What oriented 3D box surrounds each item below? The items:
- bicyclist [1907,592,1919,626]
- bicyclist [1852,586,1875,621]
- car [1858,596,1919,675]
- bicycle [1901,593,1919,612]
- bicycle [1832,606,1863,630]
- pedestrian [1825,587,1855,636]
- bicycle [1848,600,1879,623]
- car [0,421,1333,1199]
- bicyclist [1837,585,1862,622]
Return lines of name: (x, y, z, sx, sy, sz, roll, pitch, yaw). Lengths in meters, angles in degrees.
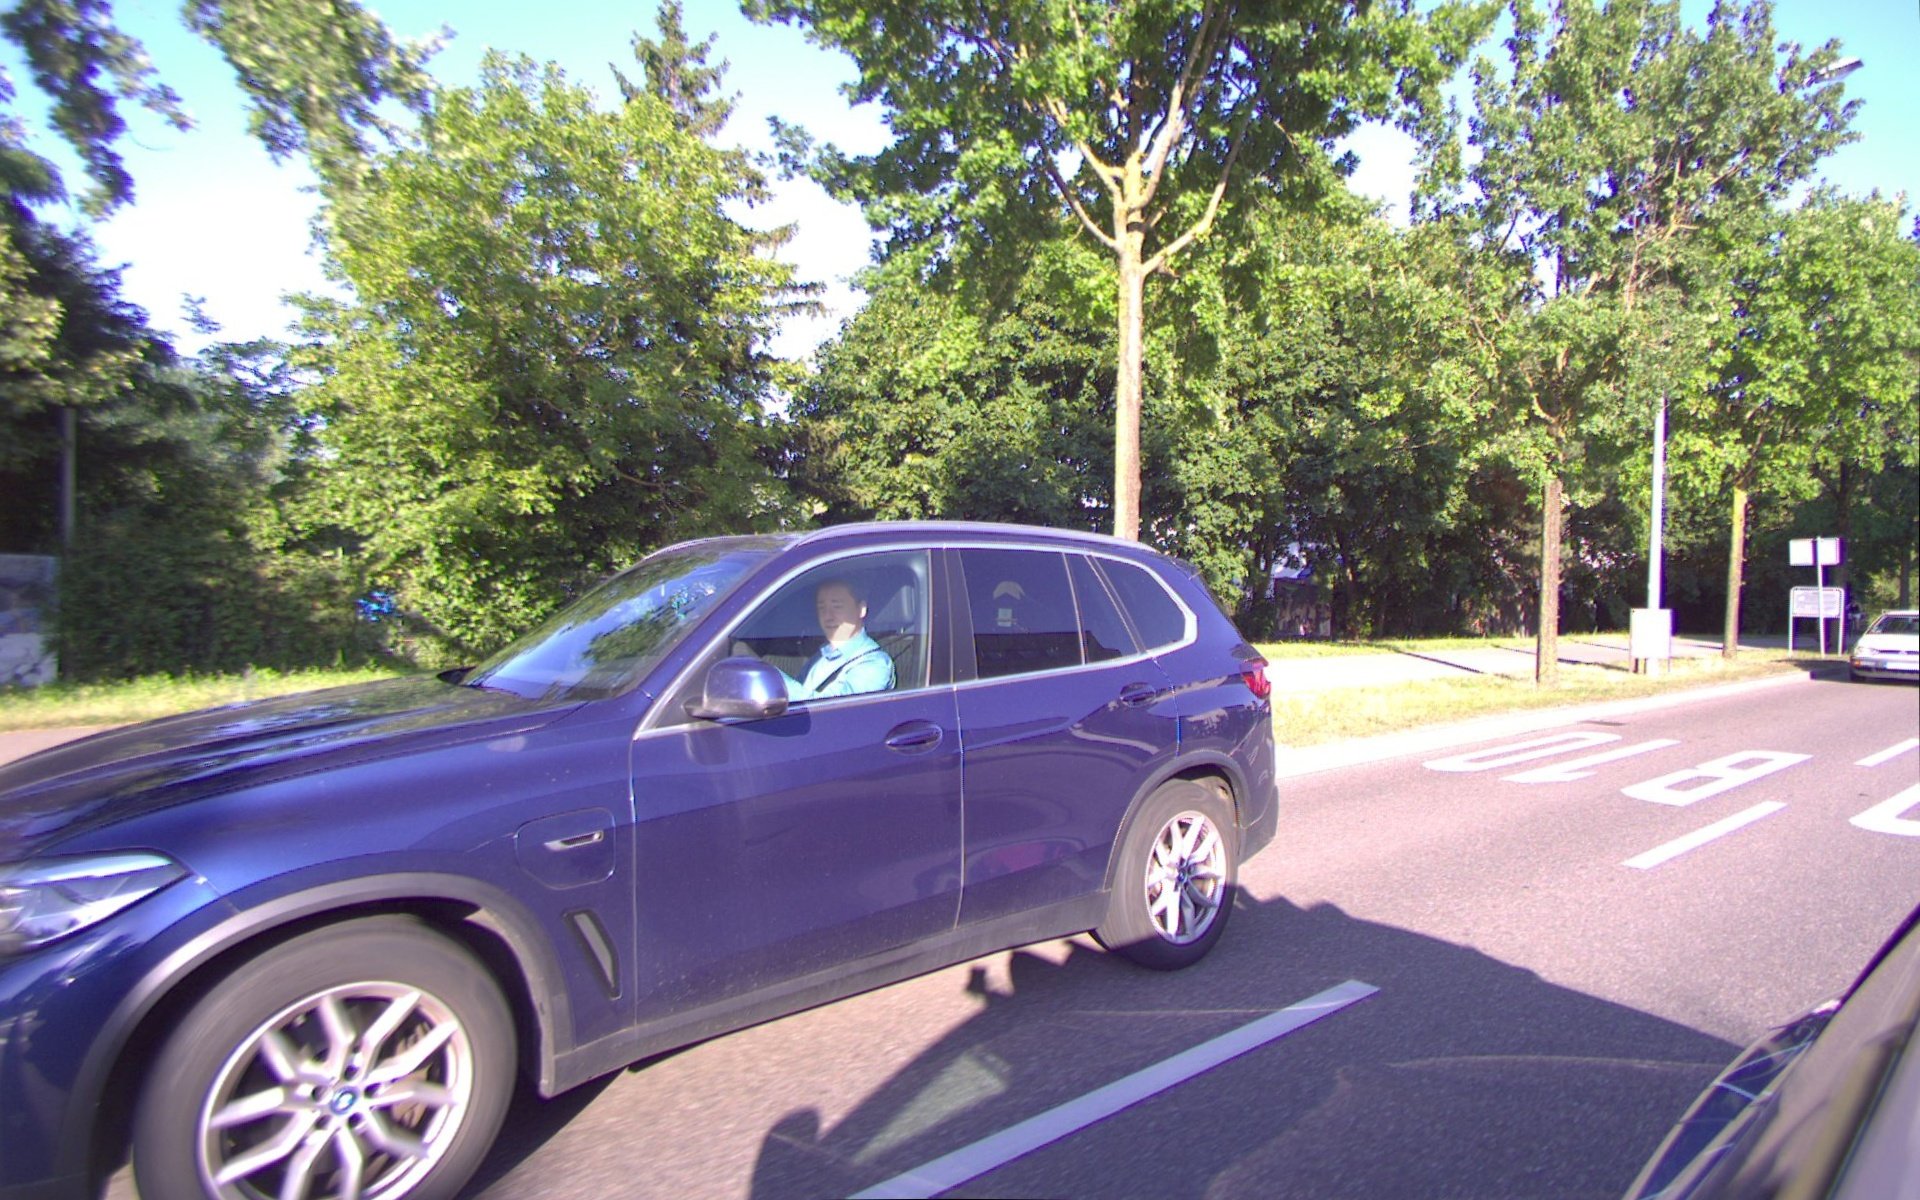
bicyclist: (50.074, 0.474, 52.967, 0.832, 1.755, 0.605, 1, 0, -36)
bicyclist: (41.172, 0.157, 46.106, 0.832, 1.598, 0.605, 1, 0, -36)
car: (18.898, 0.690, 19.497, 3.962, 1.416, 1.615, 2, 0, -37)
bicycle: (49.514, 0.125, 52.546, 2.020, 0.986, 0.618, 1, 1, -37)
bicycle: (37.619, 0.749, 42.898, 1.787, 0.986, 0.618, 1, 1, -37)
pedestrian: (29.656, 0.376, 34.101, 0.671, 1.593, 0.896, 4, 2, 44)
bicycle: (41.188, 0.526, 46.126, 2.020, 0.986, 0.618, 1, 1, -37)
car: (-0.706, 0.532, 3.929, 4.614, 1.748, 1.959, 0, 0, -39)
bicyclist: (37.802, 0.150, 43.019, 0.832, 1.520, 0.615, 1, 0, -36)
